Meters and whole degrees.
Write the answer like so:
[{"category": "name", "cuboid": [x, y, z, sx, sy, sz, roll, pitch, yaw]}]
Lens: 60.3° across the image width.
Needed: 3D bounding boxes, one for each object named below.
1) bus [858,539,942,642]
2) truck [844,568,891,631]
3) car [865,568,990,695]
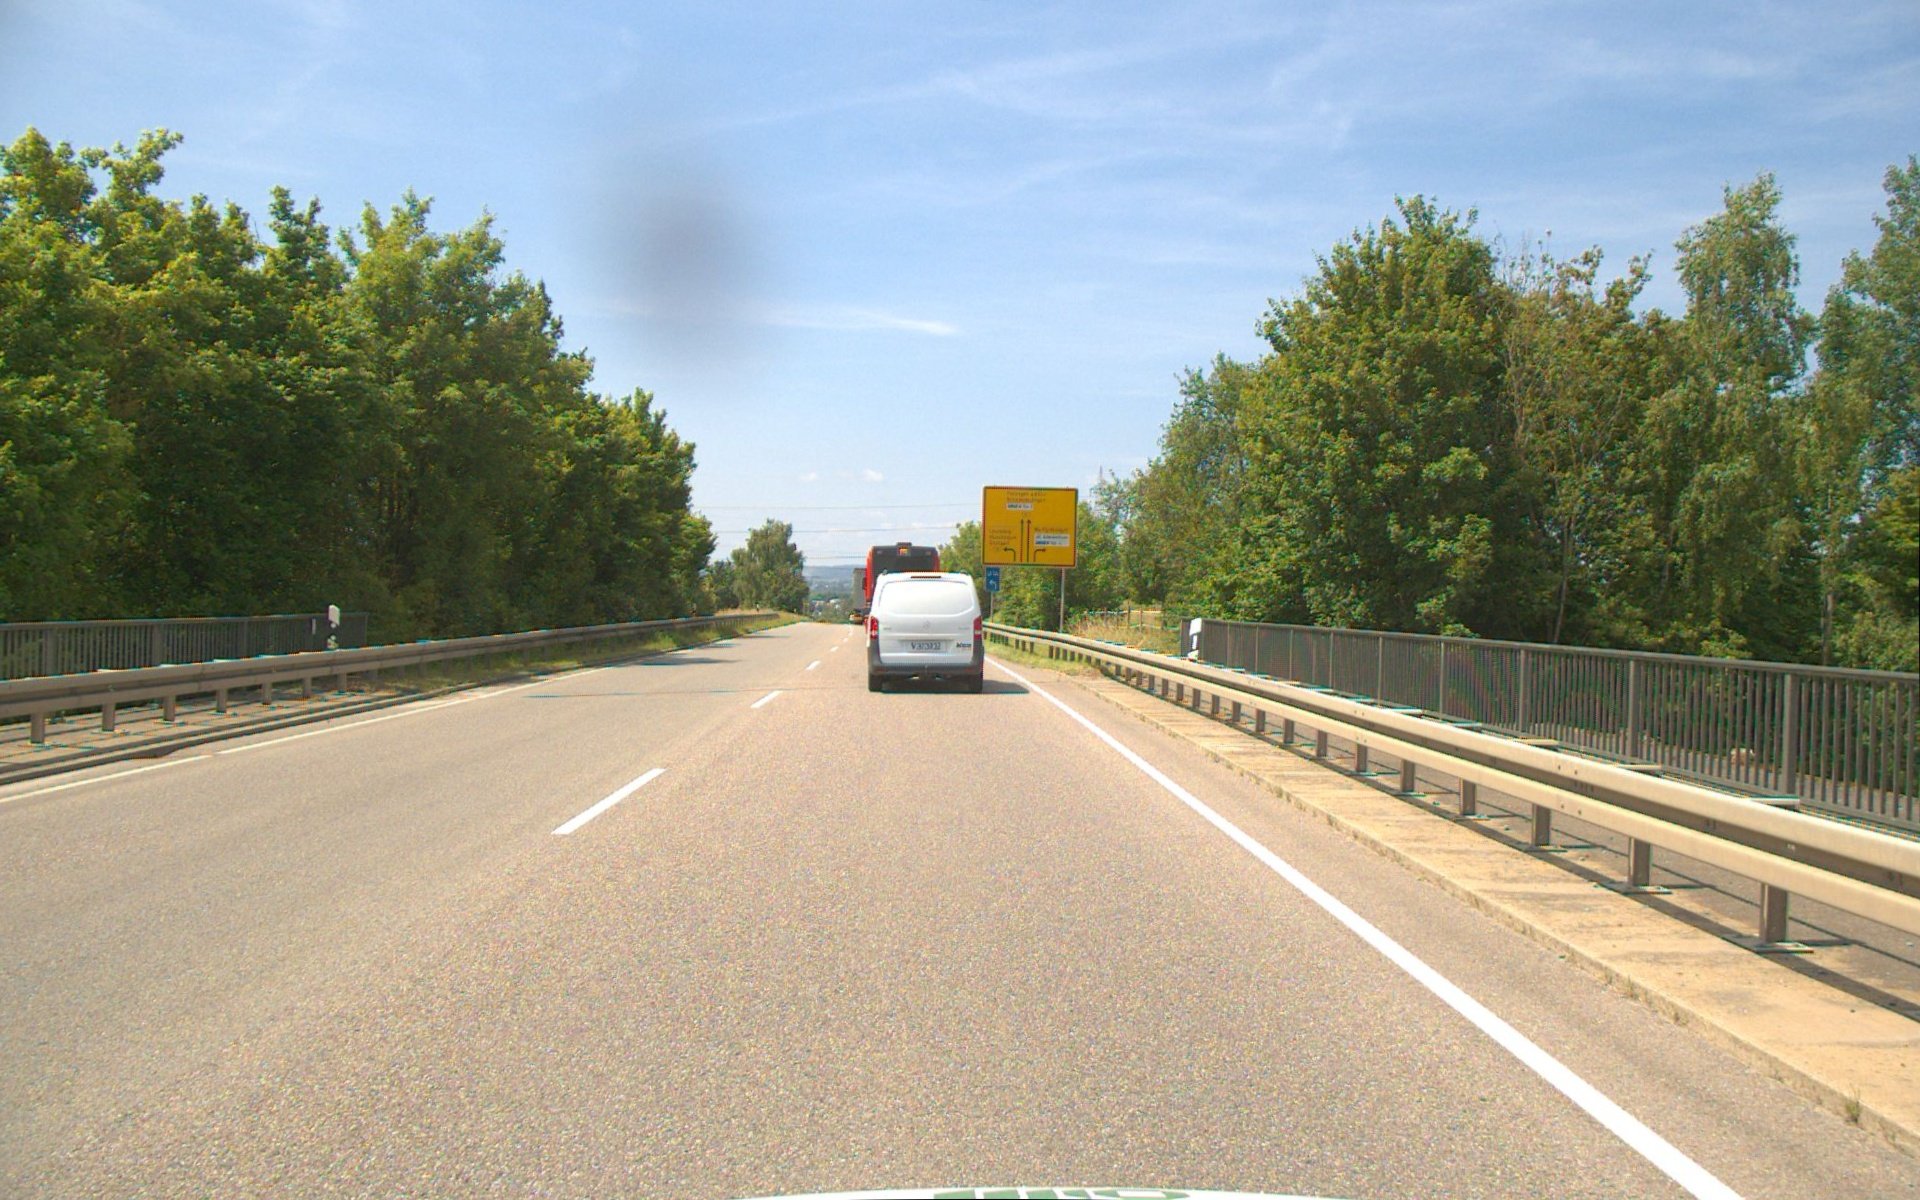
[{"category": "bus", "cuboid": [-2.395, -0.364, 61.298, 2.693, 3.412, 13.211, 0, 0, -4]}, {"category": "truck", "cuboid": [-7.147, -0.092, 126.025, 3.419, 4.500, 14.890, 0, 0, -4]}, {"category": "car", "cuboid": [-0.547, 0.459, 27.471, 1.884, 1.922, 3.999, 1, 1, -1]}]
